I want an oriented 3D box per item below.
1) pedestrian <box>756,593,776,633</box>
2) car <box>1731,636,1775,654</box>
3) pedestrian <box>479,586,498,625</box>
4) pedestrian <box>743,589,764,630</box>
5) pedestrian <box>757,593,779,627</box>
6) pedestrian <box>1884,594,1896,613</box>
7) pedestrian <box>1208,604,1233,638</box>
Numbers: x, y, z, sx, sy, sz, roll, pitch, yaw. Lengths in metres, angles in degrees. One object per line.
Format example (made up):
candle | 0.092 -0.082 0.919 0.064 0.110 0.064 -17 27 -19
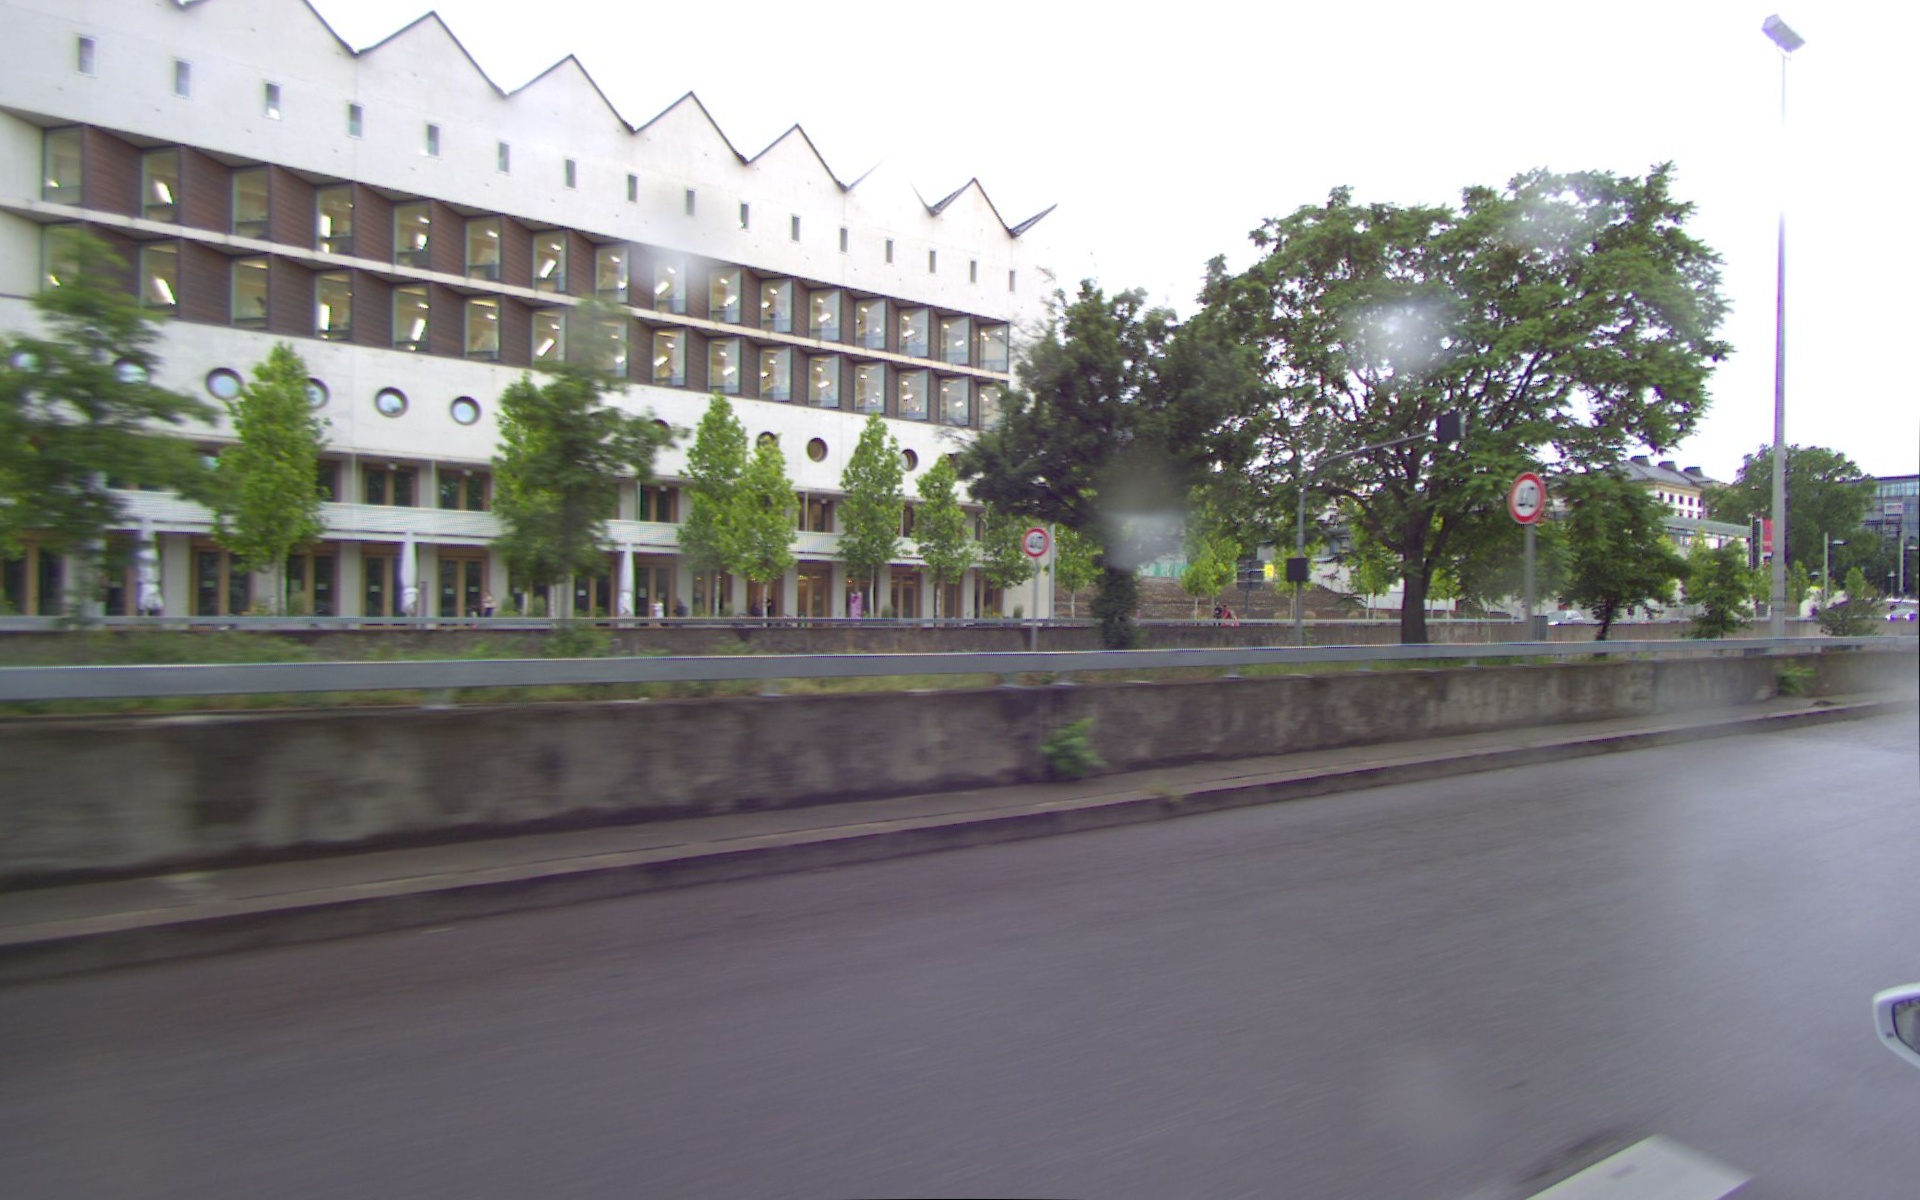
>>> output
pedestrian | -9.265 0.611 47.938 0.687 1.883 0.741 2 1 11
car | 54.341 3.062 68.817 3.018 1.144 1.478 2 0 -33
pedestrian | -19.389 0.223 41.279 0.642 1.535 0.676 1 1 -27
pedestrian | -9.697 0.460 47.144 0.687 1.883 0.741 2 1 11
pedestrian | -9.427 0.477 49.381 0.689 1.649 0.739 2 1 31
pedestrian | 107.115 0.433 115.684 0.754 2.120 0.726 -3 4 0
pedestrian | 15.162 1.212 58.528 0.822 1.891 1.077 1 1 -39
